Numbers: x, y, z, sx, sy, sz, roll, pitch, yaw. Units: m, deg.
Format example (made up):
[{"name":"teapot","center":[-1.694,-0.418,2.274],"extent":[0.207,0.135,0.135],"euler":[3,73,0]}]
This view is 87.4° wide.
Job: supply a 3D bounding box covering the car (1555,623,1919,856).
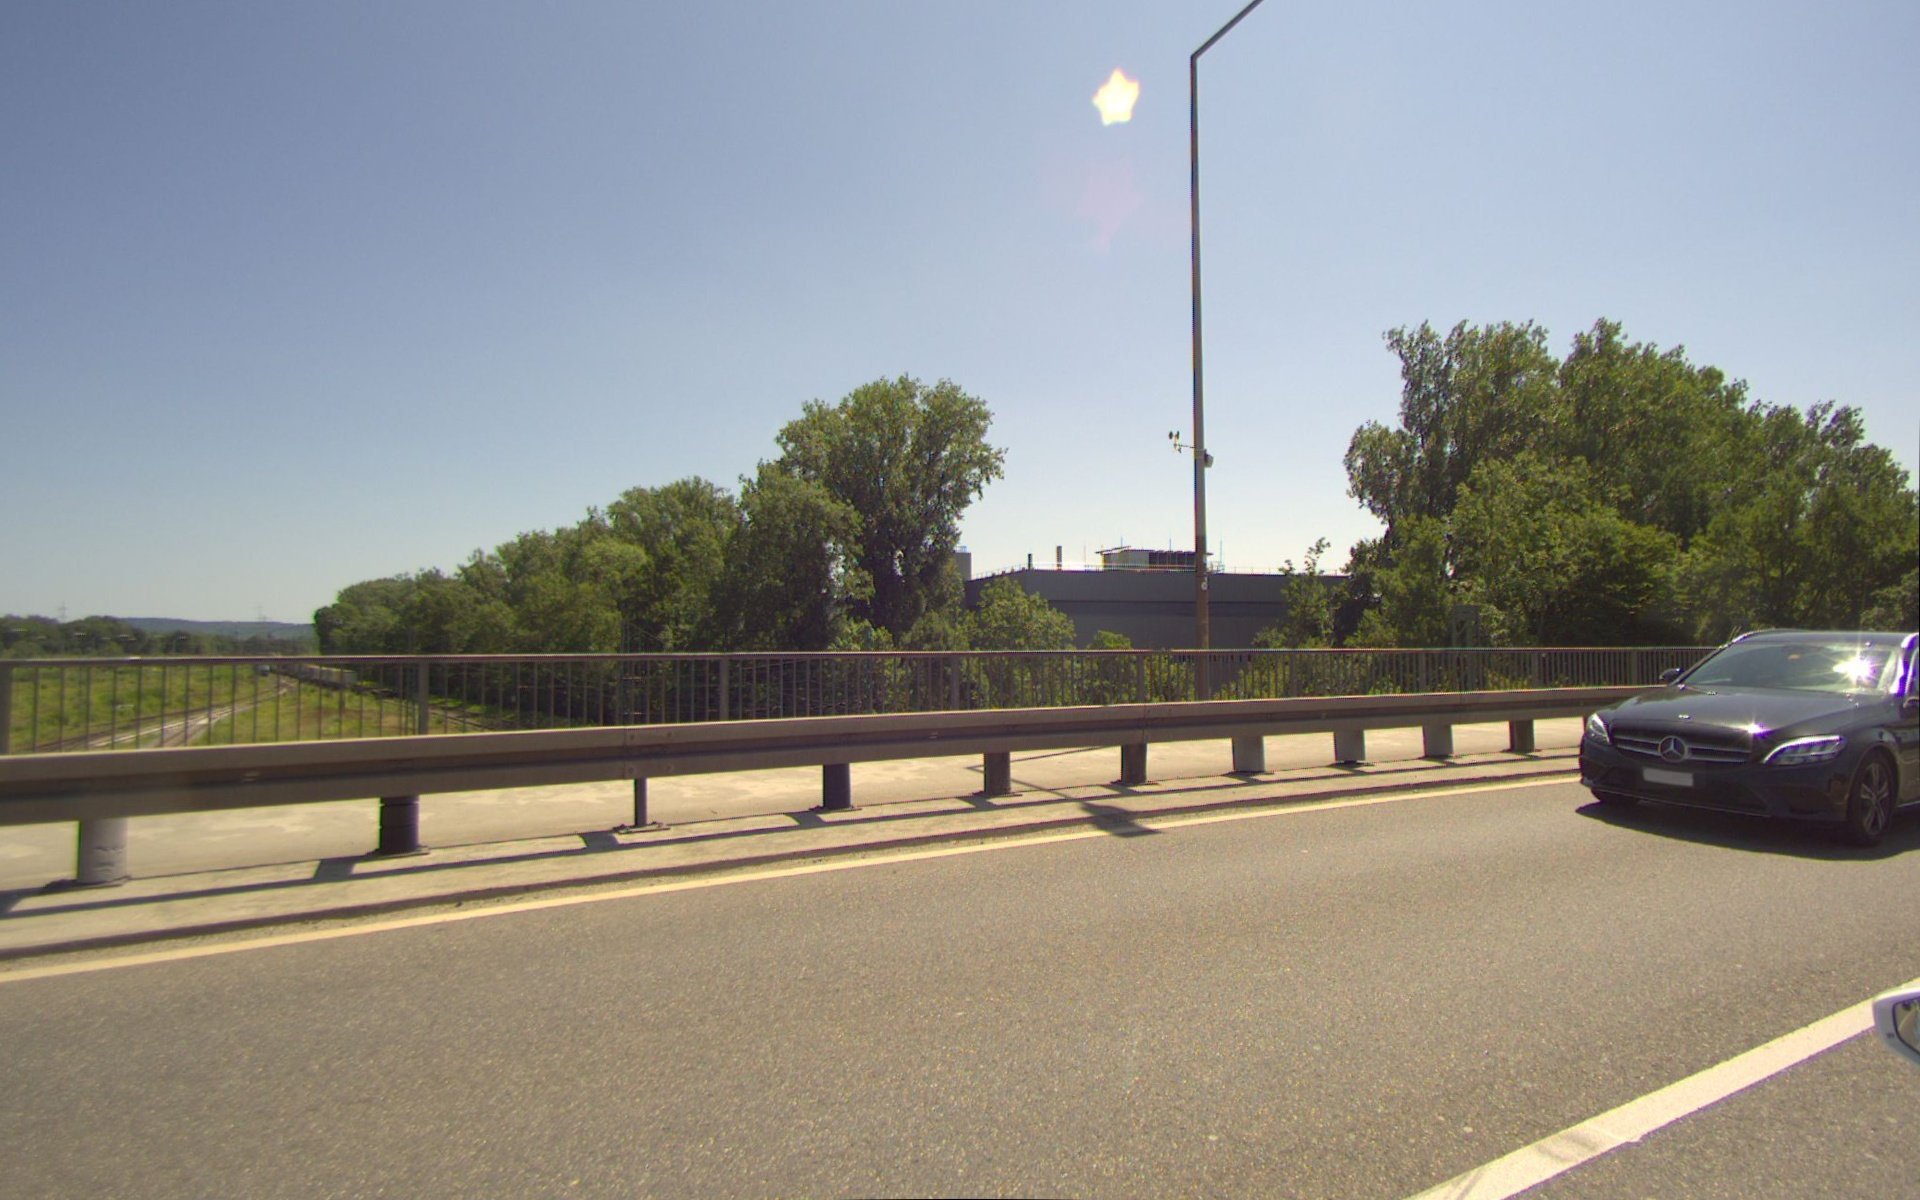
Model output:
[{"name":"car","center":[7.022,0.949,8.184],"extent":[4.337,1.458,1.765],"euler":[1,-1,-28]}]
